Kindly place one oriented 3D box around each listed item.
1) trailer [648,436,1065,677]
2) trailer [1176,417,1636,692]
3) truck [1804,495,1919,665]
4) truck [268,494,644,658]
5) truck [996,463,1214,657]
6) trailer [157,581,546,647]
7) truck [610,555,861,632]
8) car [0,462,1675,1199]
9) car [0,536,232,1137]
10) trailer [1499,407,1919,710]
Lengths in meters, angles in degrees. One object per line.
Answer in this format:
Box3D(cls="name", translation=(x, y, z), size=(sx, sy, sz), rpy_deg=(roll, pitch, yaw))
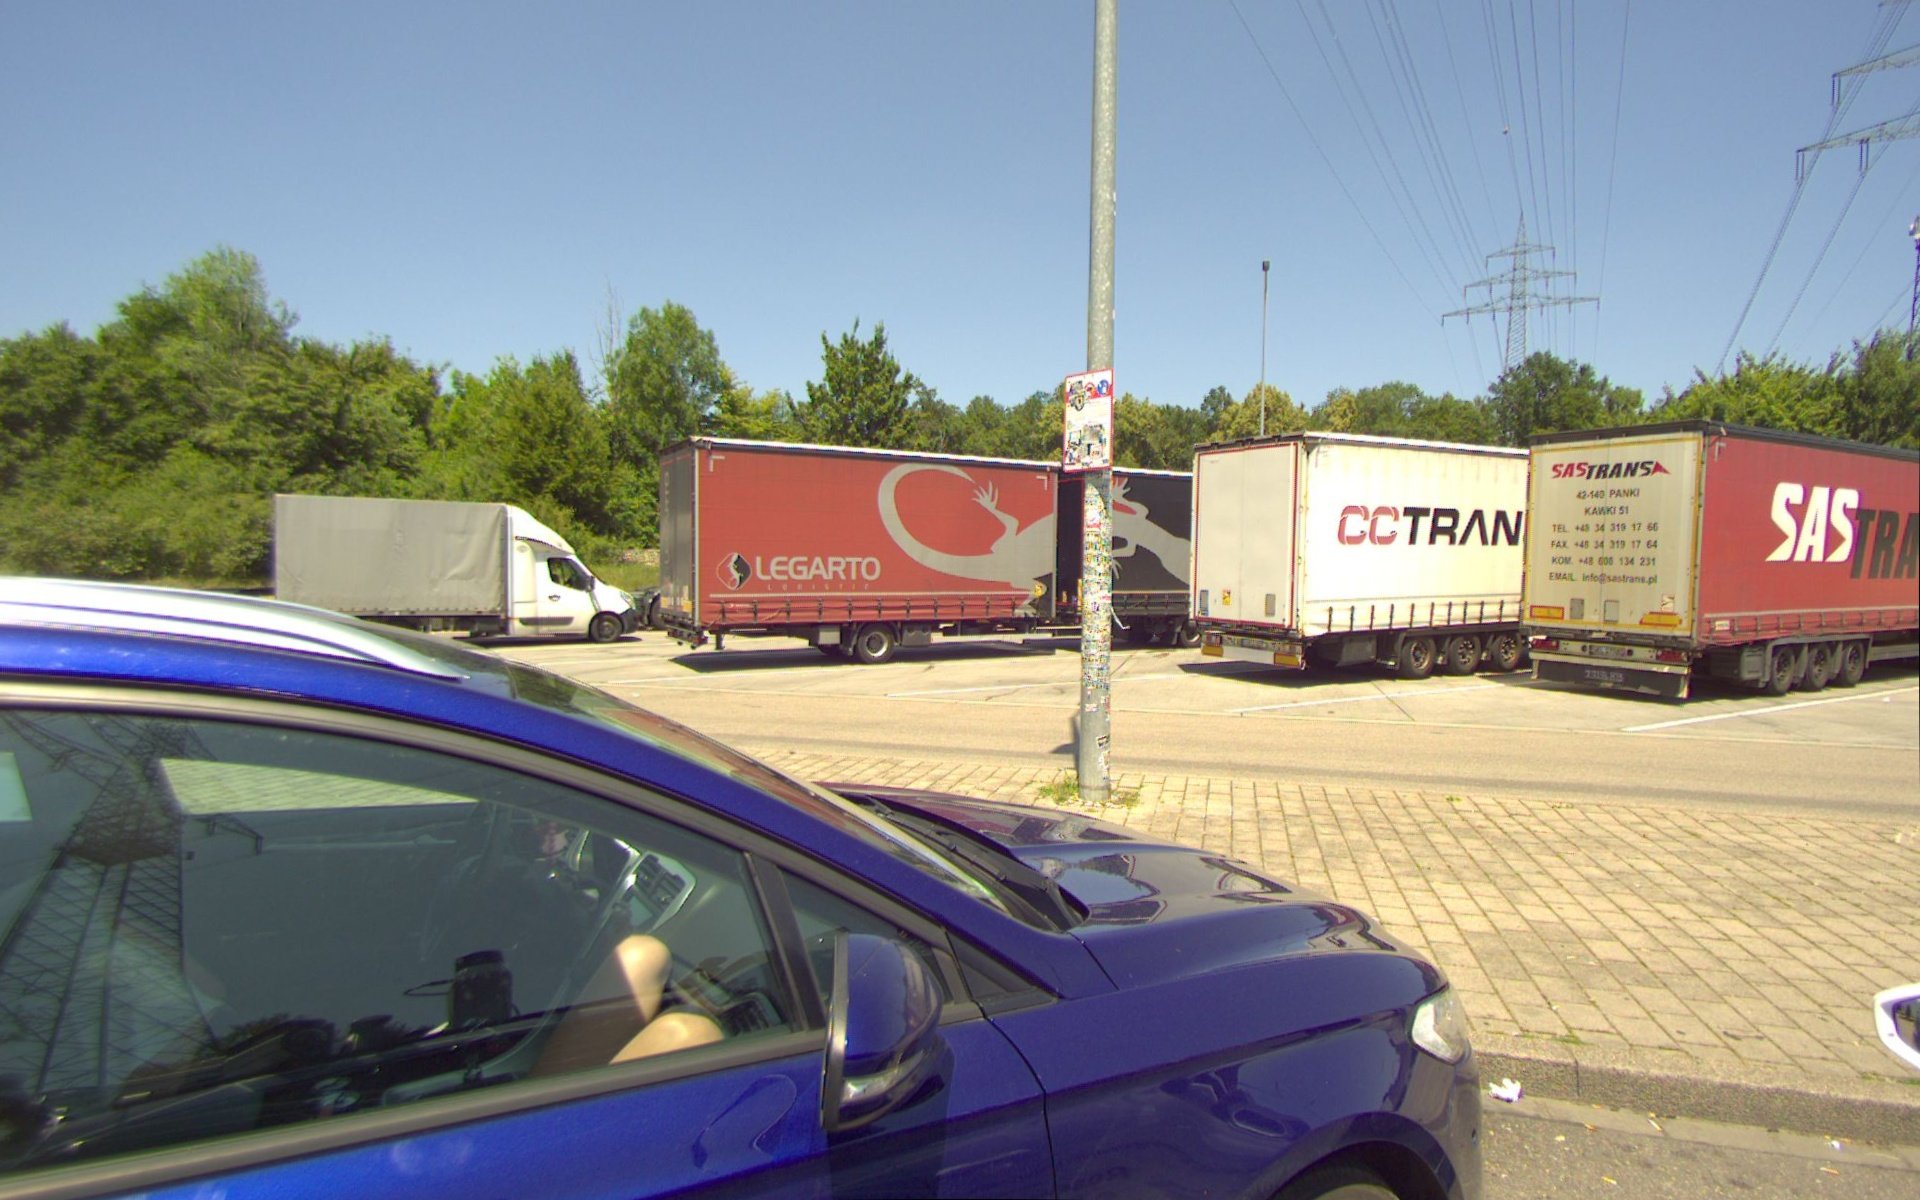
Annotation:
Box3D(cls="trailer", translation=(-1.919, -0.833, 20.269), size=(7.996, 4.101, 2.696), rpy_deg=(-1, 3, -30))
Box3D(cls="trailer", translation=(8.873, -0.823, 19.333), size=(10.049, 4.267, 2.714), rpy_deg=(-1, 3, -30))
Box3D(cls="truck", translation=(21.734, -0.436, 22.315), size=(5.418, 3.475, 2.838), rpy_deg=(-1, 3, -30))
Box3D(cls="truck", translation=(-11.196, -0.575, 22.904), size=(7.254, 3.254, 2.515), rpy_deg=(-1, 3, -30))
Box3D(cls="truck", translation=(3.362, -0.908, 23.365), size=(4.273, 4.072, 2.689), rpy_deg=(-1, 3, -30))
Box3D(cls="trailer", translation=(-14.825, 0.257, 25.186), size=(7.996, 1.394, 2.211), rpy_deg=(-1, 3, -30))
Box3D(cls="truck", translation=(-6.477, -0.167, 29.528), size=(6.961, 2.040, 1.984), rpy_deg=(0, 0, -30))
Box3D(cls="car", translation=(-0.969, 0.655, 1.473), size=(4.592, 1.502, 1.727), rpy_deg=(0, 0, -33))
Box3D(cls="car", translation=(-4.542, 0.583, 2.257), size=(4.592, 1.554, 1.726), rpy_deg=(0, 1, -33))
Box3D(cls="trailer", translation=(15.413, -0.706, 18.569), size=(13.559, 4.189, 2.892), rpy_deg=(-1, 3, -30))
